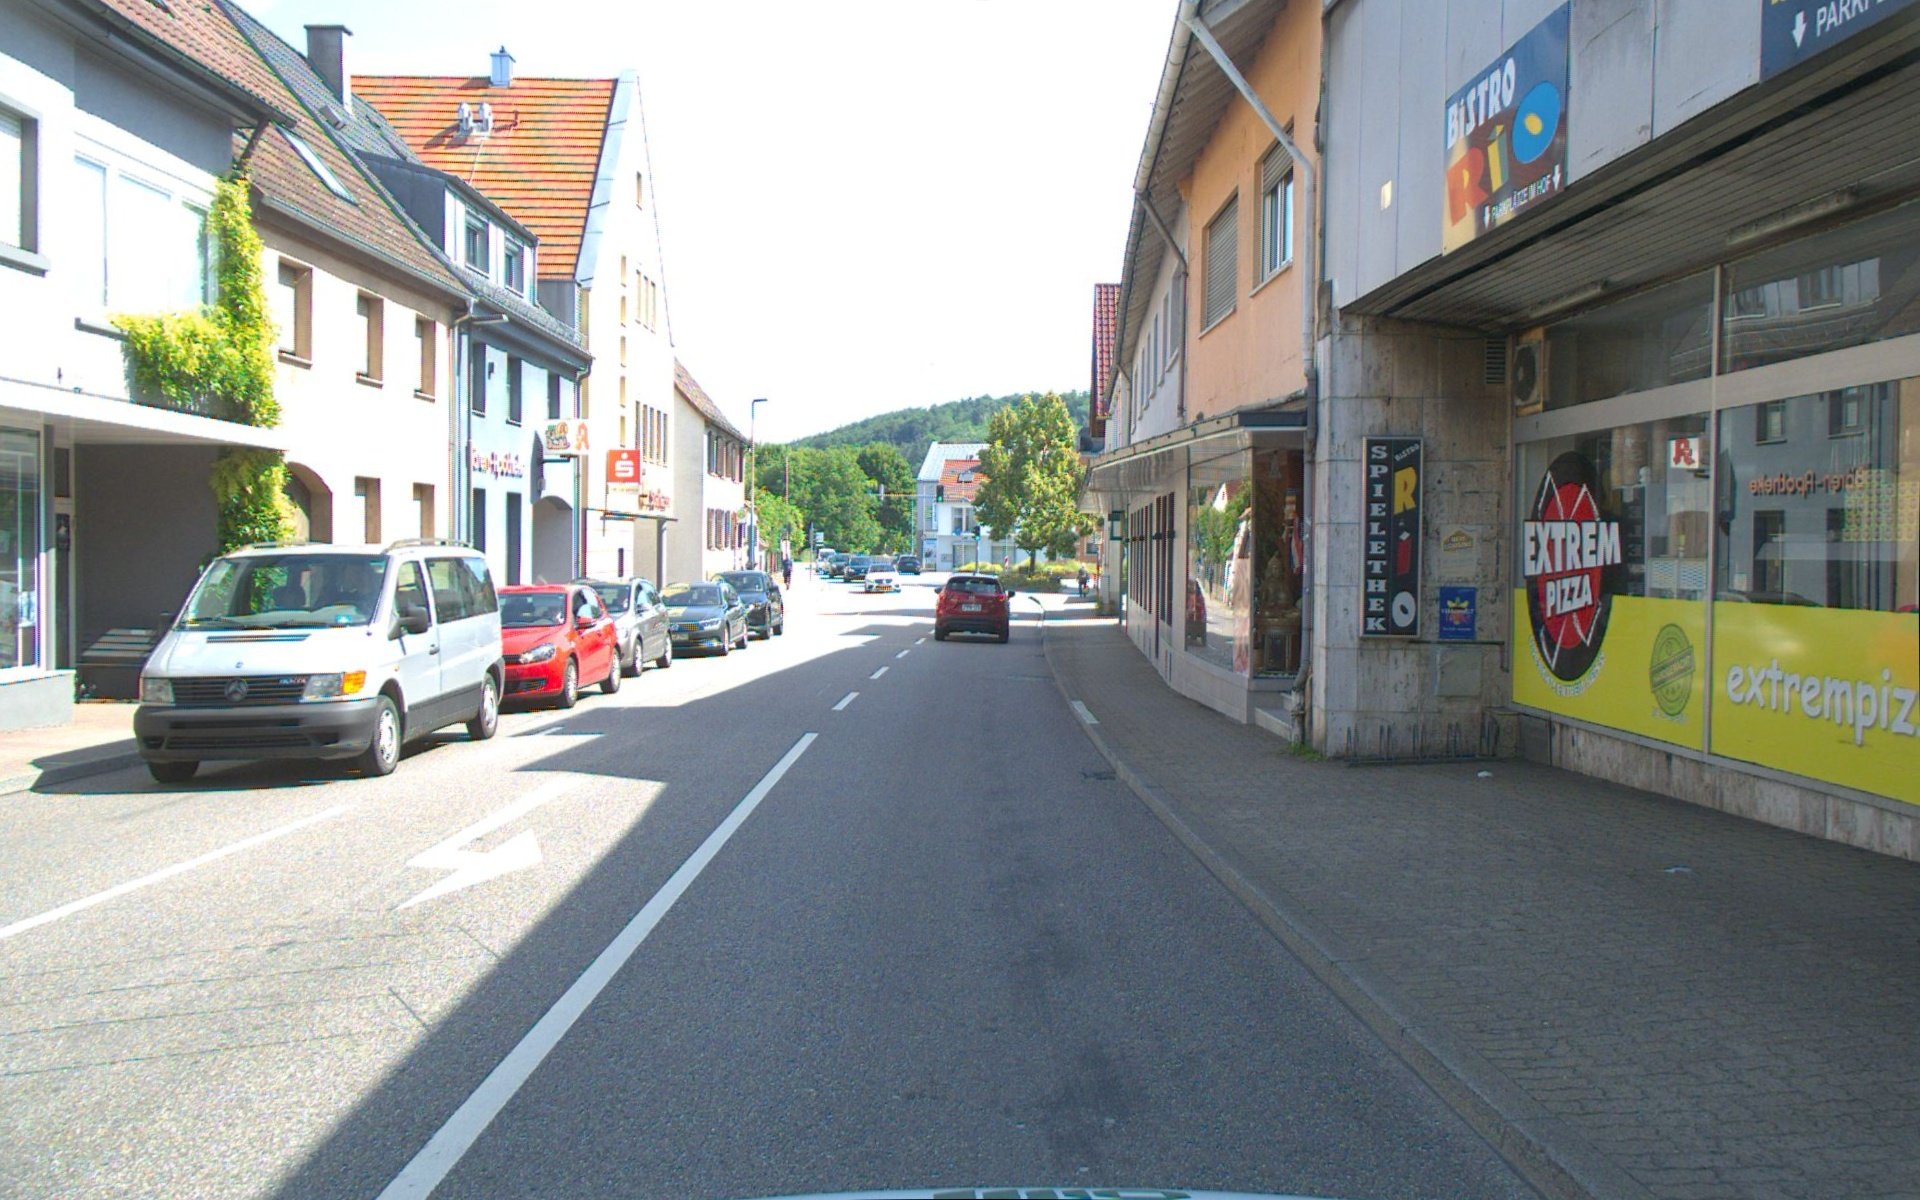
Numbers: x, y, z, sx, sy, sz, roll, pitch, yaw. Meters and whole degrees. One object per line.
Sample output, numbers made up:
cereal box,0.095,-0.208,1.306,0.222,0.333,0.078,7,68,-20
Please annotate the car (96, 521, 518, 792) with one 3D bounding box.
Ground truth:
car,-5.348,0.371,14.295,1.845,1.923,4.551,-1,1,-1

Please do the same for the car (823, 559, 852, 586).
car,-8.514,-1.892,114.769,1.738,1.816,3.838,0,-1,0

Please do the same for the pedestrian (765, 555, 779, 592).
pedestrian,-9.417,-1.325,82.892,0.652,1.856,0.798,0,-1,-5

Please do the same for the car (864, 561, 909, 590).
car,-3.762,-1.282,85.576,1.946,1.469,5.102,0,1,1

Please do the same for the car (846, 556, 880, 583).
car,-6.093,-1.967,104.187,1.801,1.559,4.255,0,3,2

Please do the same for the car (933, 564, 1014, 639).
car,0.400,-0.006,41.622,1.820,1.744,4.424,1,1,3

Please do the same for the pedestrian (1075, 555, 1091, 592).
pedestrian,5.834,-1.256,78.499,0.629,1.737,0.699,0,-1,-5

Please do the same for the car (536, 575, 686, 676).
car,-5.782,0.363,27.804,1.595,1.546,4.020,-1,1,1

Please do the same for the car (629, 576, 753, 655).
car,-5.460,0.271,34.074,1.752,1.476,4.425,-1,1,1

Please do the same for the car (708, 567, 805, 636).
car,-5.087,-0.002,41.932,1.829,1.617,4.519,-1,1,1

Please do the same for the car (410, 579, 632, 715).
car,-5.429,0.511,20.959,1.723,1.518,4.076,-1,1,0

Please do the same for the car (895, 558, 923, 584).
car,-3.858,-2.219,125.917,1.892,1.825,3.957,0,-1,2

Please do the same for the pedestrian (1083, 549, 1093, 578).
pedestrian,8.709,-2.479,112.491,0.629,1.912,0.652,0,-1,-5
